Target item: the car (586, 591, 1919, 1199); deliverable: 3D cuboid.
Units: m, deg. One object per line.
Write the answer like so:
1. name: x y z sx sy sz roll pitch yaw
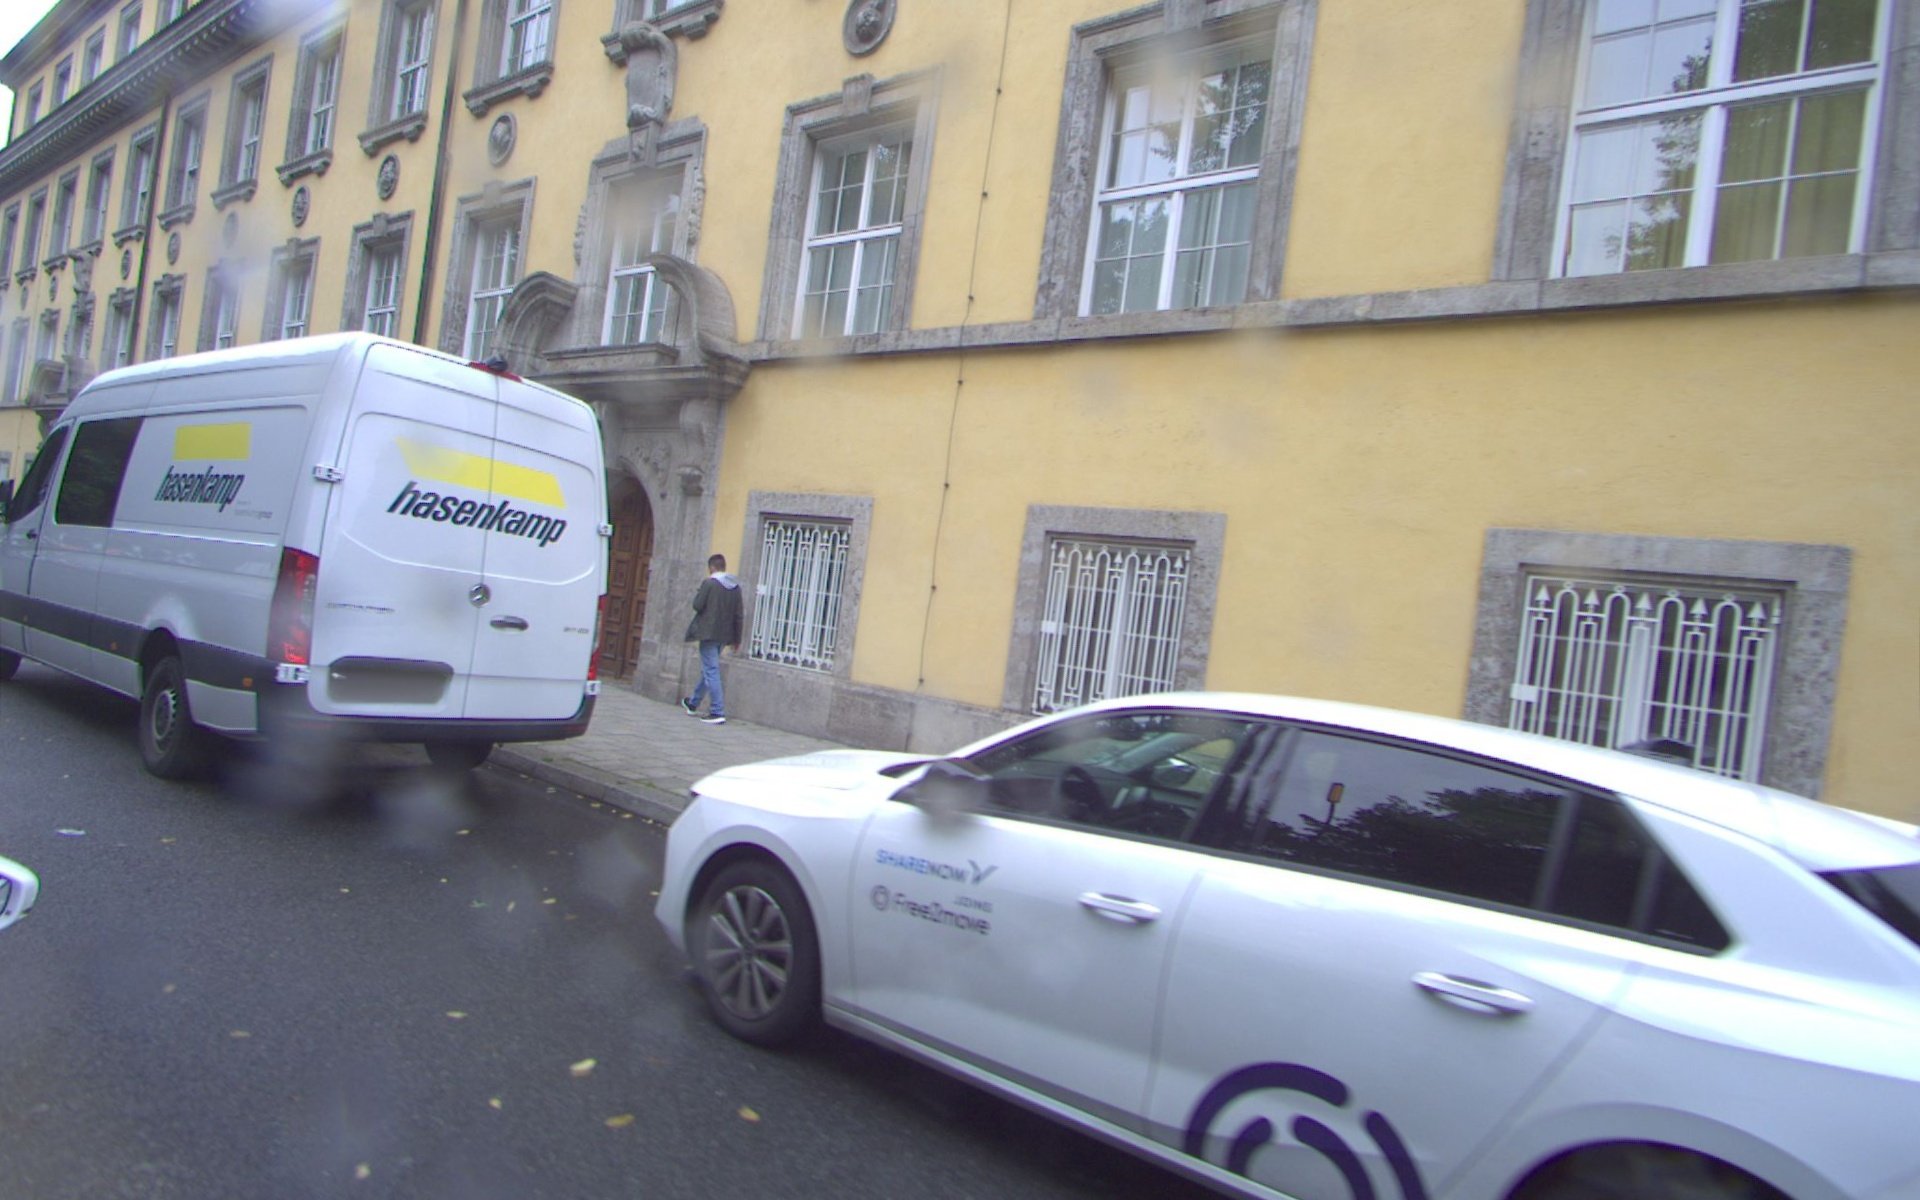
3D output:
1. car: 0.889 0.978 3.425 4.187 1.475 1.873 6 -1 34

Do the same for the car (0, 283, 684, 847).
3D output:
1. car: -5.578 -0.412 7.770 7.493 2.705 2.056 6 -1 34

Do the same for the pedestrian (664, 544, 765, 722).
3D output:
1. pedestrian: -2.655 0.361 10.905 0.574 1.827 0.700 6 1 35

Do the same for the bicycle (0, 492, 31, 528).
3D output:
1. bicycle: -31.097 -2.964 32.833 2.025 1.018 0.680 6 -1 36
